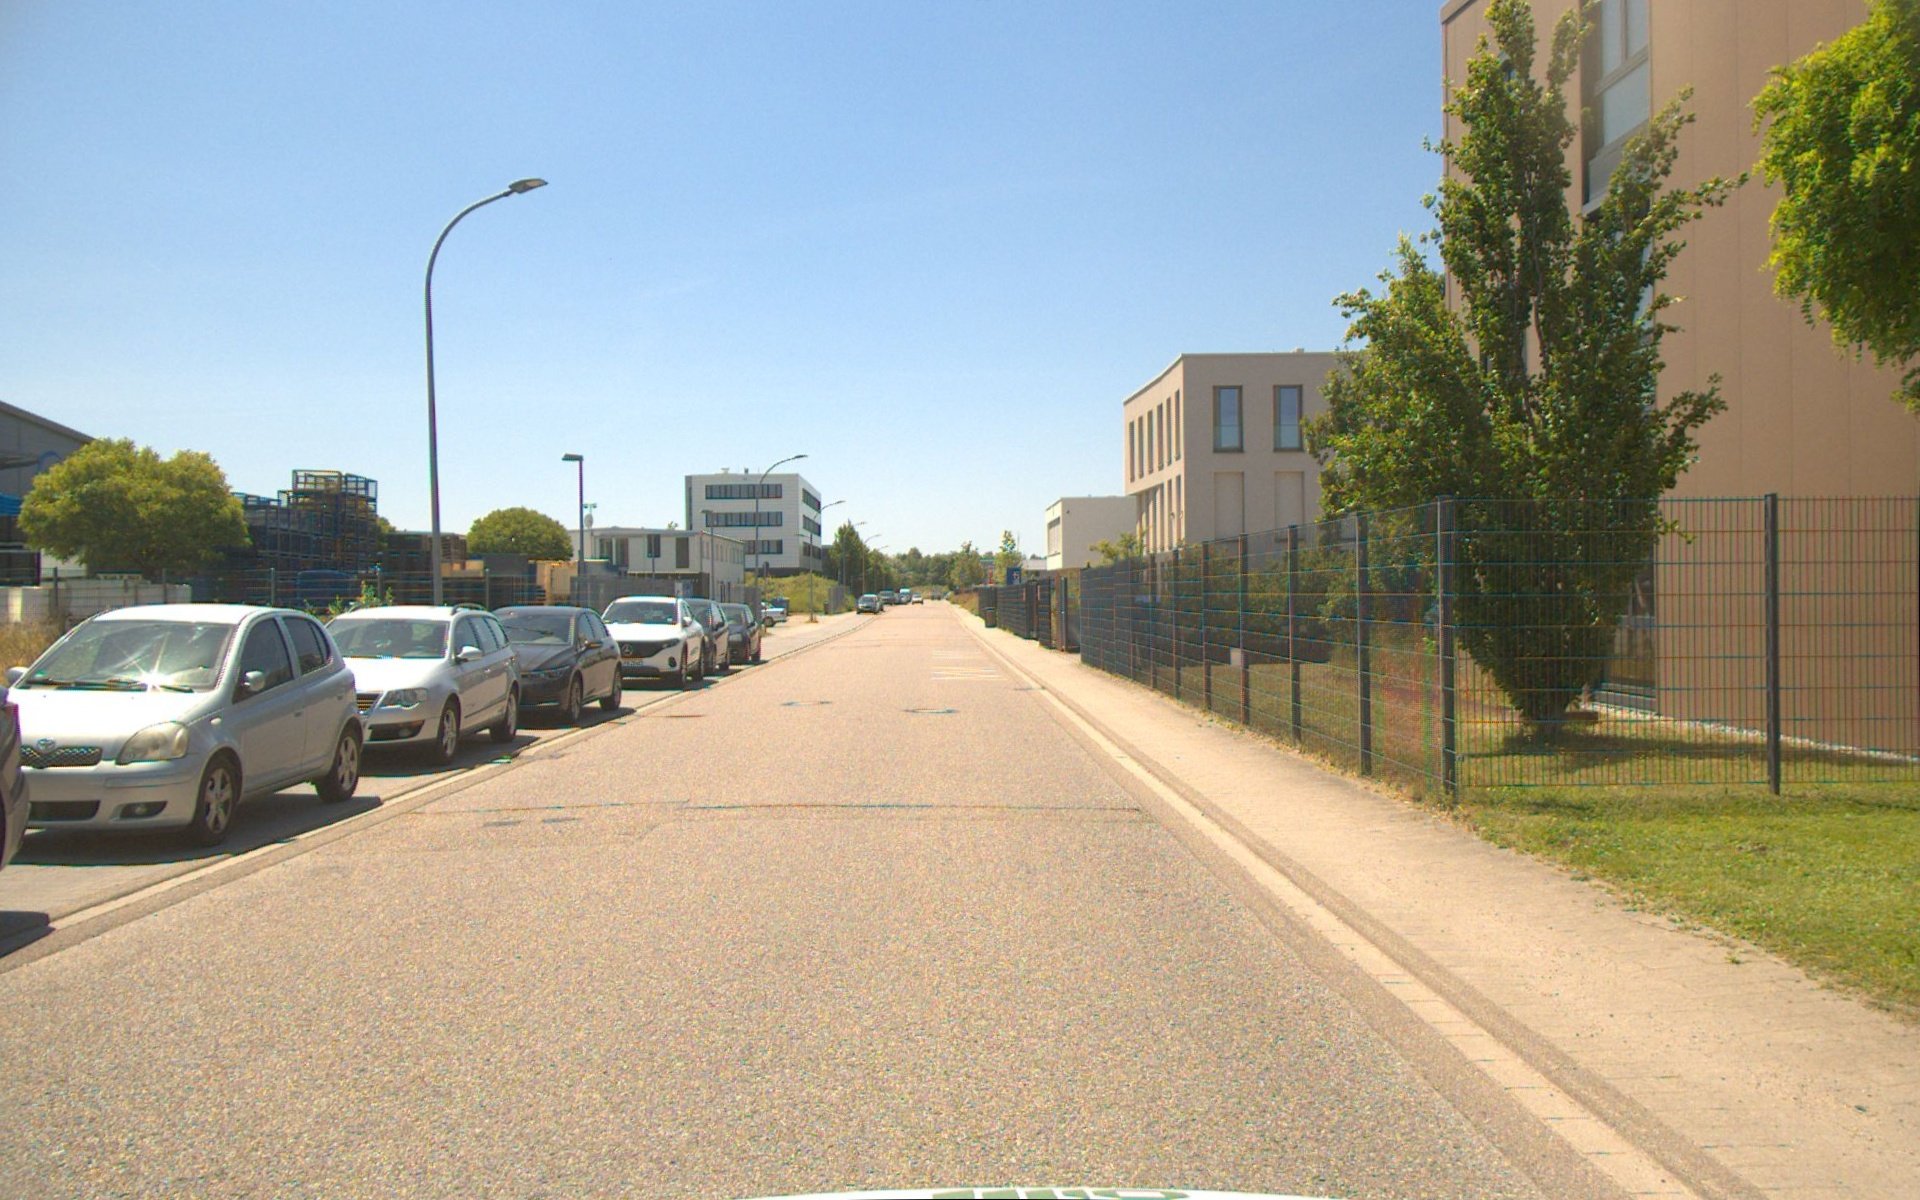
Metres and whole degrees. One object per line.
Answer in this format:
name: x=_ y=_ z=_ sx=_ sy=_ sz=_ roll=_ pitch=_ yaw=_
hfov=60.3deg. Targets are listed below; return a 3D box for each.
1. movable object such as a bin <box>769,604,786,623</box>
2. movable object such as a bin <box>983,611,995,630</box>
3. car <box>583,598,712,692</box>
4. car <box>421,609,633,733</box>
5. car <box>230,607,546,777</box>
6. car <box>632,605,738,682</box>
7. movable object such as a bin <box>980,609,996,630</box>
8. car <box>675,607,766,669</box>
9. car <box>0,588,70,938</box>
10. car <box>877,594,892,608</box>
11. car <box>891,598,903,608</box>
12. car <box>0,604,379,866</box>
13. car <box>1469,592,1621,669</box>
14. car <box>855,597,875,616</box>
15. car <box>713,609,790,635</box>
movable object such as a bin: x=-14.414 y=1.076 z=130.557 sx=1.260 sy=1.437 sz=1.805 roll=0 pitch=0 yaw=-5
movable object such as a bin: x=1.581 y=1.102 z=89.211 sx=0.541 sy=0.944 sz=0.522 roll=-5 pitch=1 yaw=3
car: x=-5.774 y=0.803 z=31.014 sx=1.733 sy=1.620 sz=4.358 roll=1 pitch=0 yaw=-2
car: x=-5.733 y=0.884 z=22.431 sx=1.819 sy=1.506 sz=4.228 roll=0 pitch=0 yaw=-1
car: x=-5.724 y=0.833 z=17.233 sx=1.739 sy=1.506 sz=4.814 roll=0 pitch=0 yaw=-2
car: x=-6.006 y=0.911 z=36.587 sx=1.733 sy=1.583 sz=4.499 roll=1 pitch=0 yaw=-2
movable object such as a bin: x=1.549 y=1.063 z=90.301 sx=0.763 sy=1.037 sz=0.665 roll=-5 pitch=1 yaw=3
car: x=-6.059 y=0.934 z=42.201 sx=1.733 sy=1.487 sz=4.332 roll=1 pitch=0 yaw=-1
car: x=-5.307 y=0.750 z=6.075 sx=1.754 sy=1.635 sz=4.461 roll=0 pitch=0 yaw=-2
car: x=-8.716 y=0.108 z=191.930 sx=1.611 sy=1.516 sz=3.207 roll=0 pitch=0 yaw=-1
car: x=-9.867 y=0.498 z=258.791 sx=1.767 sy=1.584 sz=3.999 roll=-1 pitch=0 yaw=-1
car: x=-5.555 y=0.810 z=11.703 sx=1.659 sy=1.552 sz=3.733 roll=0 pitch=0 yaw=-2
car: x=11.959 y=0.605 z=34.068 sx=1.622 sy=1.469 sz=3.999 roll=-1 pitch=0 yaw=-1
car: x=-7.859 y=0.514 z=136.962 sx=1.437 sy=1.516 sz=3.207 roll=0 pitch=0 yaw=-1
car: x=-12.059 y=1.279 z=95.633 sx=4.191 sy=1.388 sz=1.897 roll=-1 pitch=0 yaw=-1
